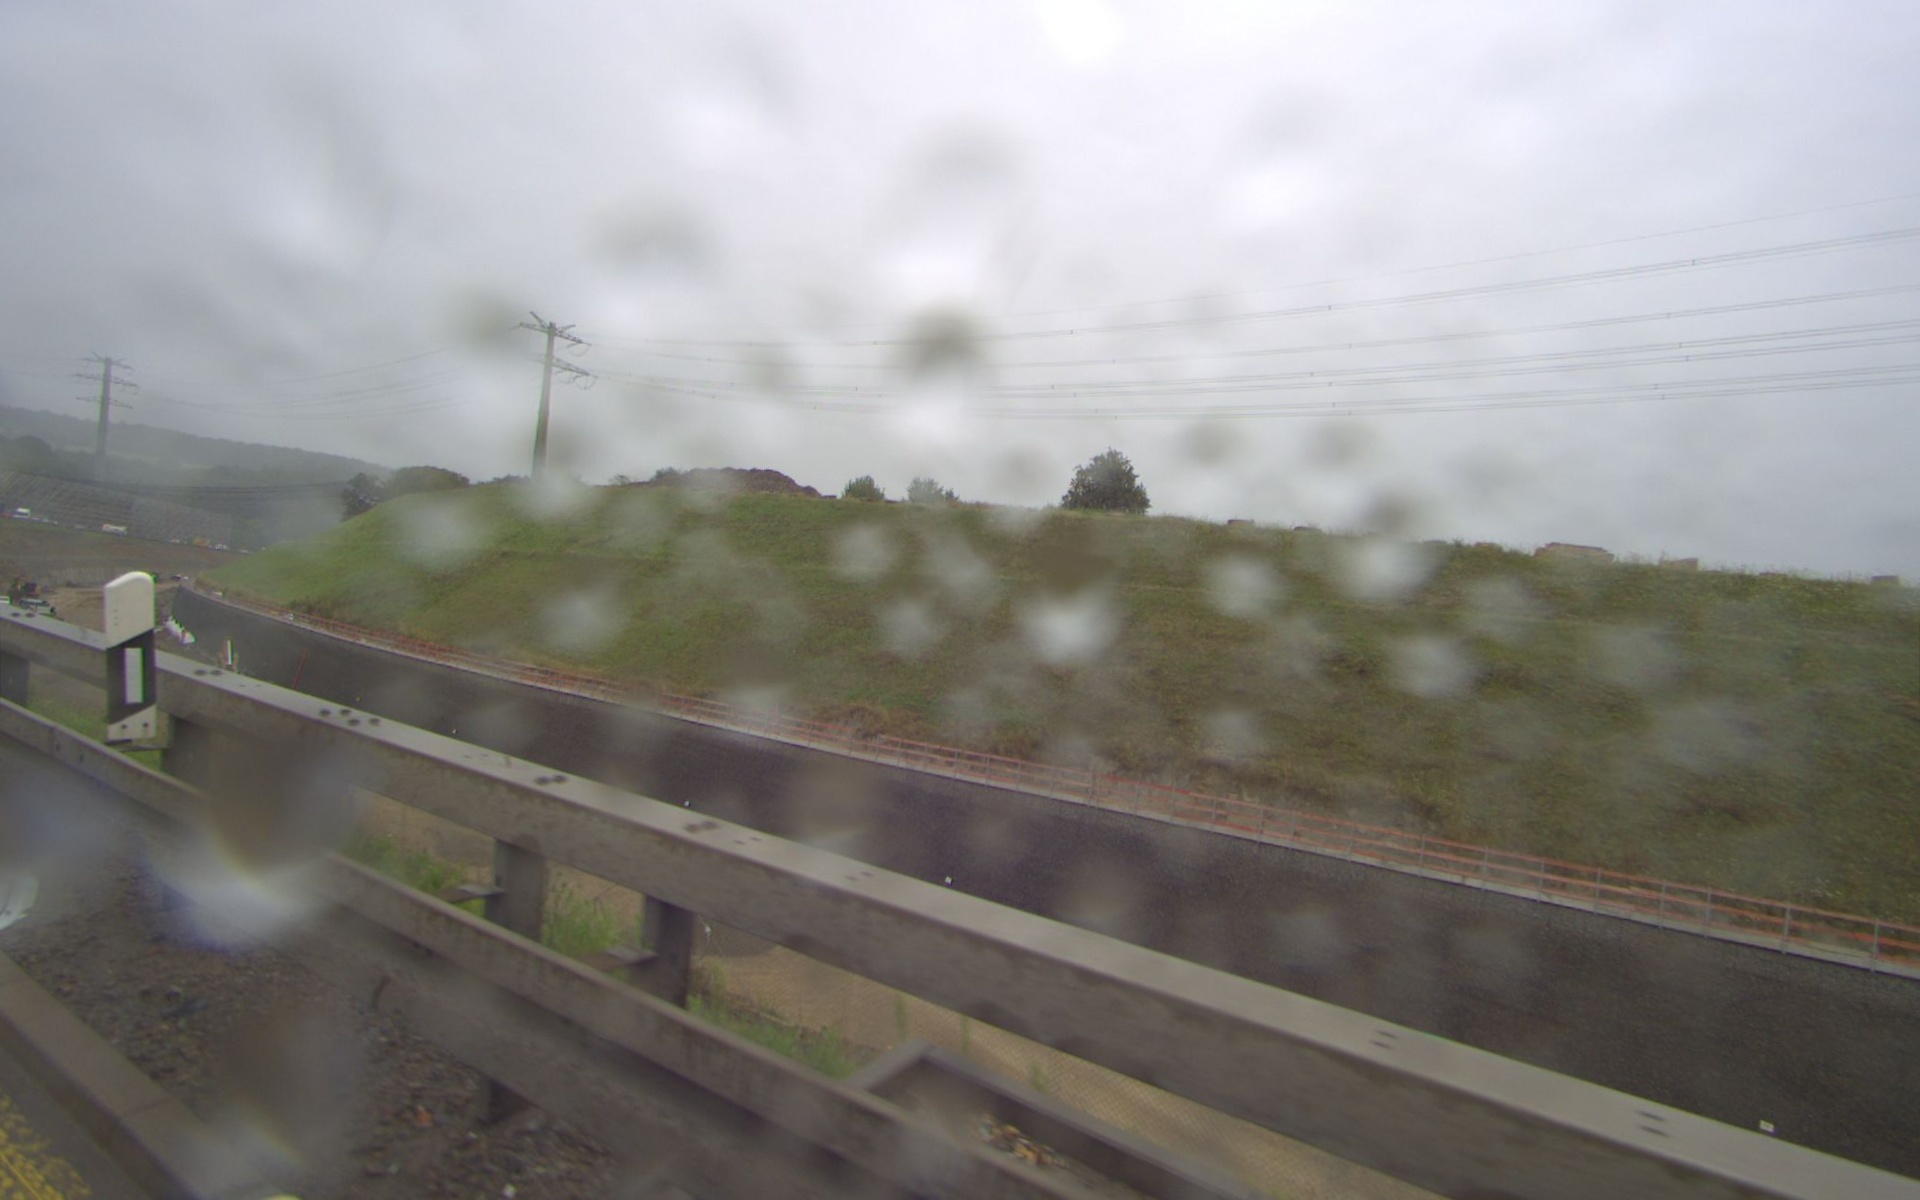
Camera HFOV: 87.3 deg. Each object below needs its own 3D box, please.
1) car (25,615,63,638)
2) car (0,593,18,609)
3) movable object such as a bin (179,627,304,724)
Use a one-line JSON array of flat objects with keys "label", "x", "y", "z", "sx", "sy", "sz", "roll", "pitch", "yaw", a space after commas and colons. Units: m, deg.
[{"label": "car", "x": -108.748, "y": 3.117, "z": 119.447, "sx": 3.938, "sy": 2.036, "sz": 2.368, "roll": 7, "pitch": -2, "yaw": 36}, {"label": "car", "x": -149.094, "y": 0.198, "z": 157.558, "sx": 1.988, "sy": 2.036, "sz": 3.954, "roll": 10, "pitch": -2, "yaw": -41}, {"label": "movable object such as a bin", "x": -34.976, "y": 3.667, "z": 48.999, "sx": 4.055, "sy": 3.910, "sz": 3.221, "roll": 8, "pitch": -2, "yaw": 33}]
